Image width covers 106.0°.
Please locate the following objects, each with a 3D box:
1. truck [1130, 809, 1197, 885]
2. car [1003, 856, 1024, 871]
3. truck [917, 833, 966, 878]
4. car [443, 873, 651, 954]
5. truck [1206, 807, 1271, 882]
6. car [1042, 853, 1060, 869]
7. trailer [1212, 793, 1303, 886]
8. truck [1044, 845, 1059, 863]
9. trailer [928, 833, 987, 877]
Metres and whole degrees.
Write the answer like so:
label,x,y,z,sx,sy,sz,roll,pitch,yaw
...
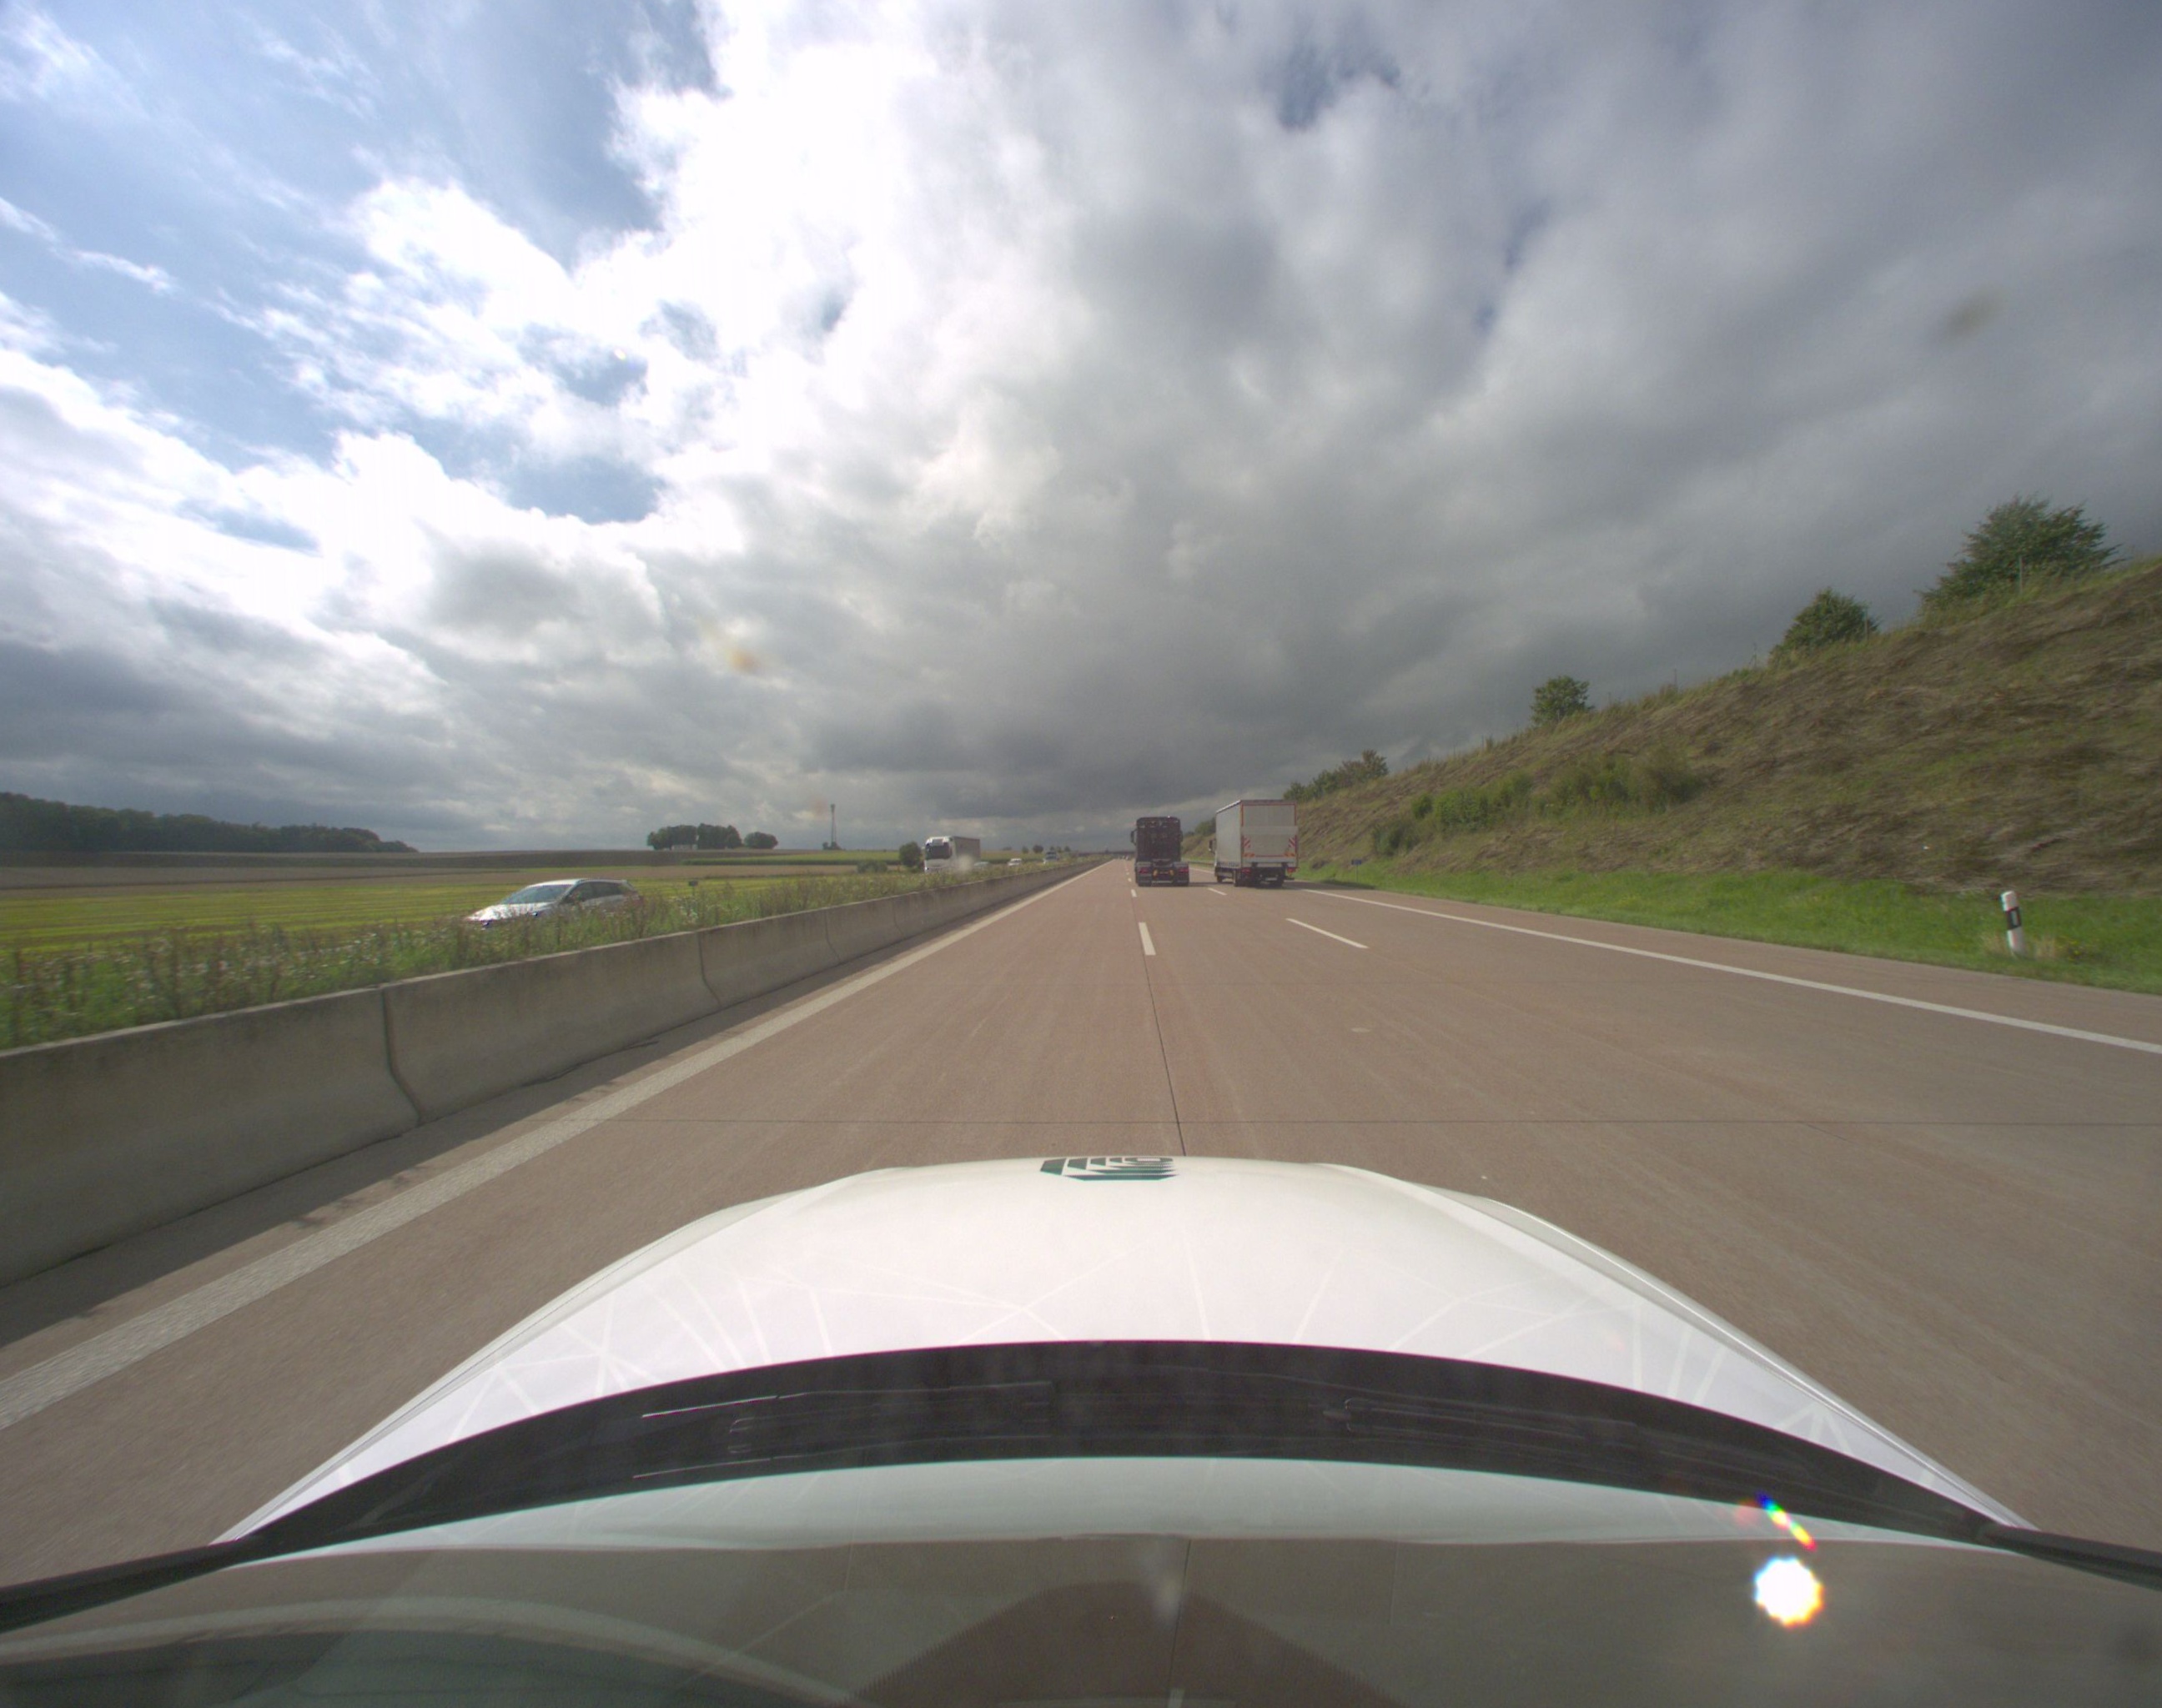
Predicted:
label,x,y,z,sx,sy,sz,roll,pitch,yaw
truck,4.165,-0.294,42.644,2.837,3.550,8.321,0,-1,1
car,-8.383,1.194,100.955,1.986,1.657,4.787,-3,0,2
truck,-13.022,0.120,76.624,3.192,4.098,6.132,0,0,4
car,-12.233,1.289,19.073,1.987,1.508,4.274,-3,0,0
truck,8.511,-0.469,44.483,2.739,3.892,4.546,0,-1,1
car,-4.096,0.922,111.575,1.986,2.013,5.248,-3,0,2
trailer,8.384,-0.606,39.855,2.738,4.012,8.672,0,-1,1
truck,-7.153,0.036,199.228,2.879,4.098,6.341,-3,0,4
trailer,-12.540,0.072,84.061,3.194,4.098,13.271,0,0,4
